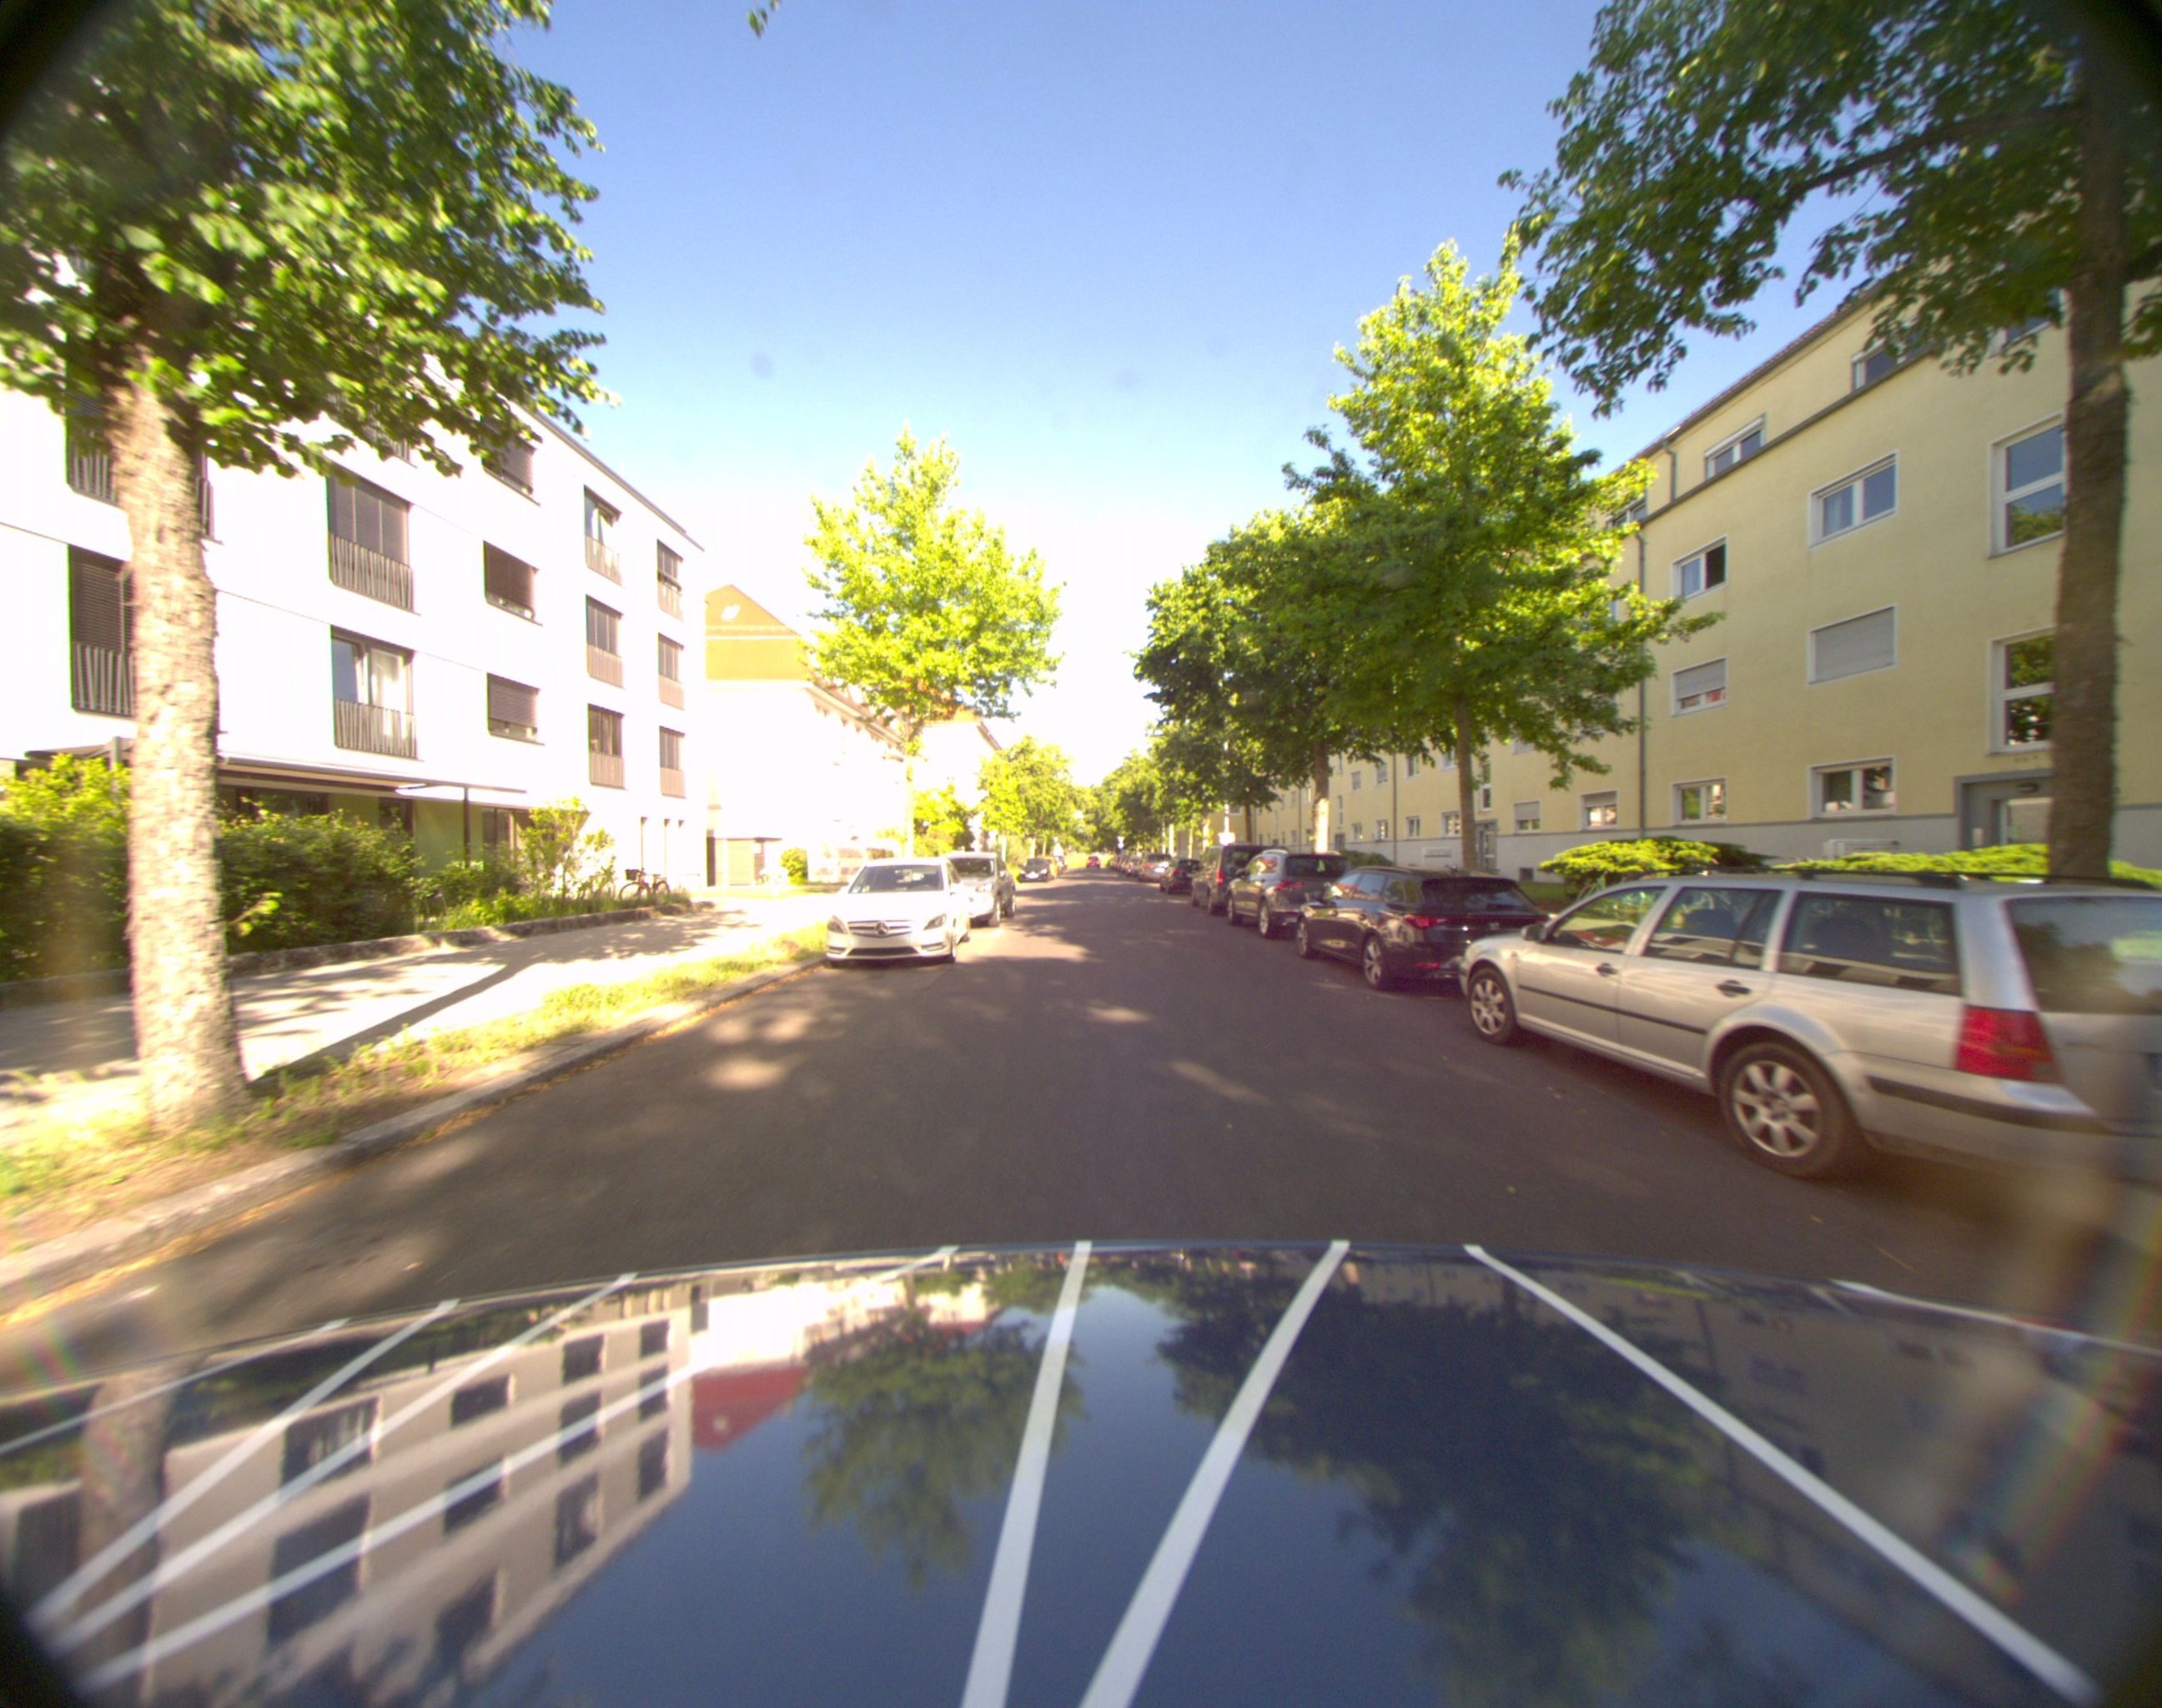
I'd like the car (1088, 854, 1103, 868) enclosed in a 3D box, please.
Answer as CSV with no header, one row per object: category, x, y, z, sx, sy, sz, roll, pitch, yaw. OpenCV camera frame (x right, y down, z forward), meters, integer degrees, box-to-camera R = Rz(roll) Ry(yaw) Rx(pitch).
car,1.657,0.798,87.450,1.665,1.456,3.447,0,0,2

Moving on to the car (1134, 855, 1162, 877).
car,4.560,0.799,52.392,1.606,1.382,3.812,-1,0,0

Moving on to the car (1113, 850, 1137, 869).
car,4.242,0.492,73.770,1.891,1.797,3.913,-1,0,-4

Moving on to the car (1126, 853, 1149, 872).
car,4.658,0.679,62.575,1.606,1.463,3.812,-1,0,0

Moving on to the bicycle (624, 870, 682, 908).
bicycle,-11.010,0.887,19.606,0.564,0.889,1.609,-1,0,1

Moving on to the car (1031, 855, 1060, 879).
car,-2.295,0.825,49.820,1.670,1.456,3.536,0,0,2

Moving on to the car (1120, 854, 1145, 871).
car,4.575,0.705,68.337,1.805,1.470,3.999,-1,0,-3

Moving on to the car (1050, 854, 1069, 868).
car,-2.205,0.700,78.450,1.670,1.456,3.536,0,0,2

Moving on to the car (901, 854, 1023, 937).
car,-2.620,0.851,18.002,1.901,1.638,4.862,-1,0,2

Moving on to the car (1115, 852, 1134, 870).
car,4.480,0.725,78.686,1.713,1.752,3.712,-1,1,-1

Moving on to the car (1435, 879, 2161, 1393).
car,4.125,0.981,4.677,1.711,1.472,4.489,0,0,-1

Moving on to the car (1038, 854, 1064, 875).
car,-2.138,0.756,55.295,1.670,1.456,3.674,0,0,2

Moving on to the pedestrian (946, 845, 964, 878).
pedestrian,-7.586,0.450,45.832,0.907,2.002,1.006,0,1,1

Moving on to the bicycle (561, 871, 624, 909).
bicycle,-12.551,0.919,19.580,0.564,0.889,1.609,-1,0,1

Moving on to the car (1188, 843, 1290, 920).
car,4.175,0.658,20.844,1.798,1.839,4.866,0,0,0

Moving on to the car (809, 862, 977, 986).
car,-2.763,0.934,12.242,1.786,1.509,4.685,-1,0,-4

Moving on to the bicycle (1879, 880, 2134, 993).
bicycle,10.397,0.872,8.672,0.573,1.055,1.933,-1,1,1

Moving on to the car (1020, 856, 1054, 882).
car,-2.575,0.842,45.040,1.670,1.456,3.536,0,0,2

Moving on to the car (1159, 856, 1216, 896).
car,4.323,0.850,31.412,1.780,1.462,4.063,2,0,0

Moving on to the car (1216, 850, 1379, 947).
car,4.156,0.759,15.401,1.798,1.676,4.525,0,0,-3

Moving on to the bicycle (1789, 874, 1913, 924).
bicycle,14.521,0.840,14.354,1.713,0.864,0.585,-1,1,1

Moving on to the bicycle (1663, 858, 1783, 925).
bicycle,12.247,0.708,14.517,1.826,1.218,0.517,-1,1,1

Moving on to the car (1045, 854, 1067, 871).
car,-2.158,0.709,65.151,1.670,1.456,3.536,0,0,2

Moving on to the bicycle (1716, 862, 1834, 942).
bicycle,11.245,0.751,12.319,1.640,1.218,0.517,-1,1,-9

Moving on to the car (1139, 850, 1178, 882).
car,4.361,0.658,43.190,1.864,1.718,4.000,1,0,1

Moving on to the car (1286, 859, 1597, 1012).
car,4.145,0.818,9.698,1.798,1.443,4.489,0,0,-1

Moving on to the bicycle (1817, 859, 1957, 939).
bicycle,12.995,0.716,12.280,1.638,1.218,0.590,-1,1,0

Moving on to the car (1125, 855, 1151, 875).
car,4.249,0.785,56.878,1.606,1.382,3.812,-1,0,0

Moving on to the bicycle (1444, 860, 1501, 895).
bicycle,11.000,0.645,21.410,0.596,0.911,1.903,0,0,-1

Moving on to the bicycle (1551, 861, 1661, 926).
bicycle,10.507,0.757,15.327,0.596,1.183,2.260,0,0,-1
